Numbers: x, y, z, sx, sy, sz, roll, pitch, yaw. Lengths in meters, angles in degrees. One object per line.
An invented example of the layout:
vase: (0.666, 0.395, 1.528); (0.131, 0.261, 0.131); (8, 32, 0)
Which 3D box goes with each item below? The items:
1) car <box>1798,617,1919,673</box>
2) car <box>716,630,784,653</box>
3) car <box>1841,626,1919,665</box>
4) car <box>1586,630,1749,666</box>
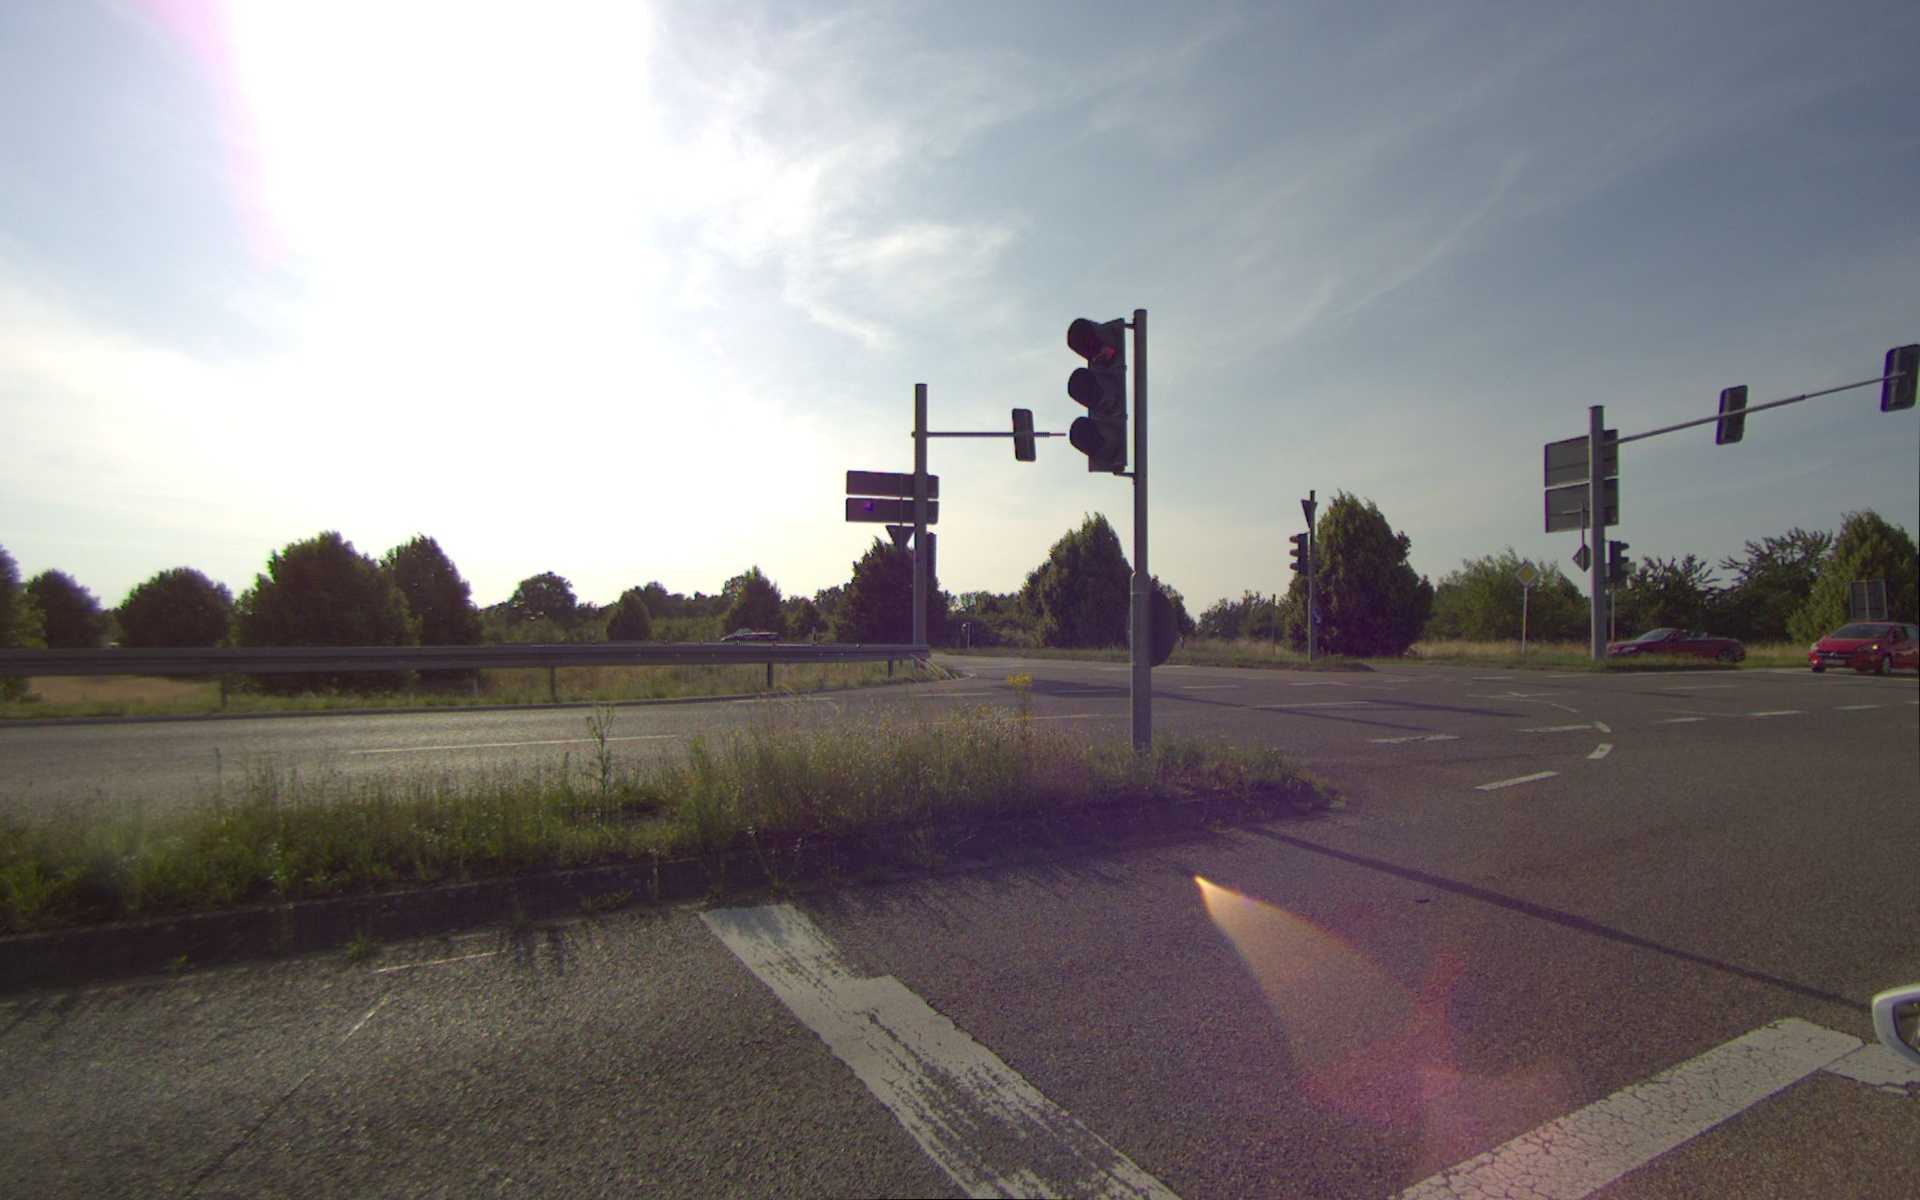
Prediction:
car: (26.088, 1.283, 28.931); (3.756, 1.507, 1.714); (1, -1, -28)
car: (-12.761, 2.514, 60.985); (4.598, 1.299, 1.717); (-1, -2, 43)
car: (34.431, 1.654, 36.565); (4.146, 1.344, 1.658); (1, -1, -18)
car: (24.660, 1.660, 35.102); (4.391, 1.116, 1.999); (1, -1, -3)
